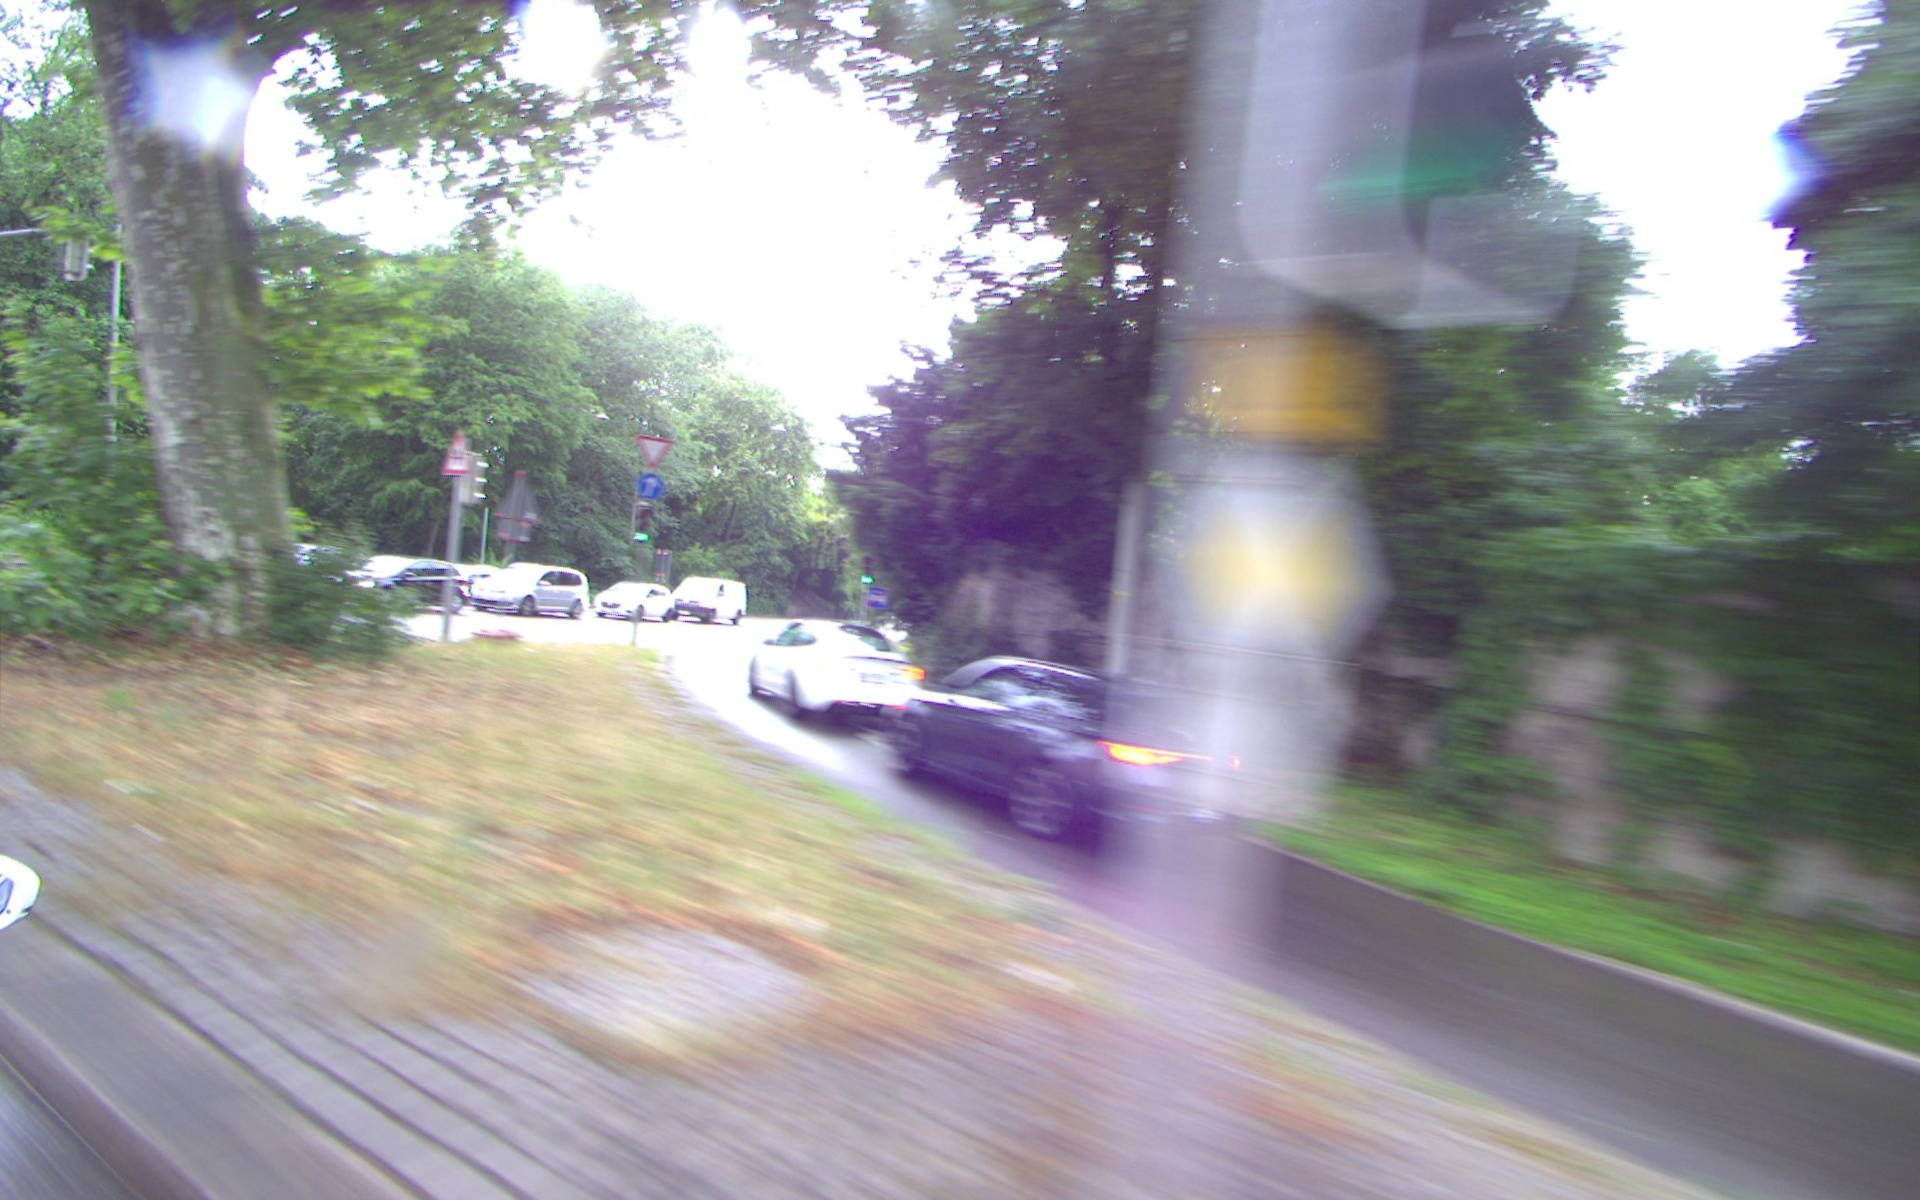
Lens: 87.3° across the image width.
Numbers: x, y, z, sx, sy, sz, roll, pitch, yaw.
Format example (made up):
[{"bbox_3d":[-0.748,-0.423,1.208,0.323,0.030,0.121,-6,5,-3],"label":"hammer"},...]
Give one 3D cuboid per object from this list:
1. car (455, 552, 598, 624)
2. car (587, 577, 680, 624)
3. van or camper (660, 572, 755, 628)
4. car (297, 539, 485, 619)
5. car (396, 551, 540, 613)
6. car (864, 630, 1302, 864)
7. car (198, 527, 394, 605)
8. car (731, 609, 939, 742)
[{"bbox_3d":[-13.808,-0.319,32.350,1.871,1.698,4.218,7,-3,15],"label":"car"},{"bbox_3d":[-12.509,0.051,38.814,1.626,1.478,3.867,7,-1,10],"label":"car"},{"bbox_3d":[-11.136,0.049,44.853,1.871,1.969,4.872,7,-2,14],"label":"van or camper"},{"bbox_3d":[-14.923,-0.474,26.671,1.759,1.476,4.208,7,-3,15],"label":"car"},{"bbox_3d":[-16.583,-0.550,34.175,1.795,1.418,4.455,7,-3,15],"label":"car"},{"bbox_3d":[0.880,1.248,9.694,1.737,1.418,4.381,11,-4,-30],"label":"car"},{"bbox_3d":[-18.339,-0.891,28.057,1.913,1.456,4.220,7,-3,15],"label":"car"},{"bbox_3d":[-2.166,1.088,16.007,1.837,1.464,4.593,11,-3,-24],"label":"car"}]
